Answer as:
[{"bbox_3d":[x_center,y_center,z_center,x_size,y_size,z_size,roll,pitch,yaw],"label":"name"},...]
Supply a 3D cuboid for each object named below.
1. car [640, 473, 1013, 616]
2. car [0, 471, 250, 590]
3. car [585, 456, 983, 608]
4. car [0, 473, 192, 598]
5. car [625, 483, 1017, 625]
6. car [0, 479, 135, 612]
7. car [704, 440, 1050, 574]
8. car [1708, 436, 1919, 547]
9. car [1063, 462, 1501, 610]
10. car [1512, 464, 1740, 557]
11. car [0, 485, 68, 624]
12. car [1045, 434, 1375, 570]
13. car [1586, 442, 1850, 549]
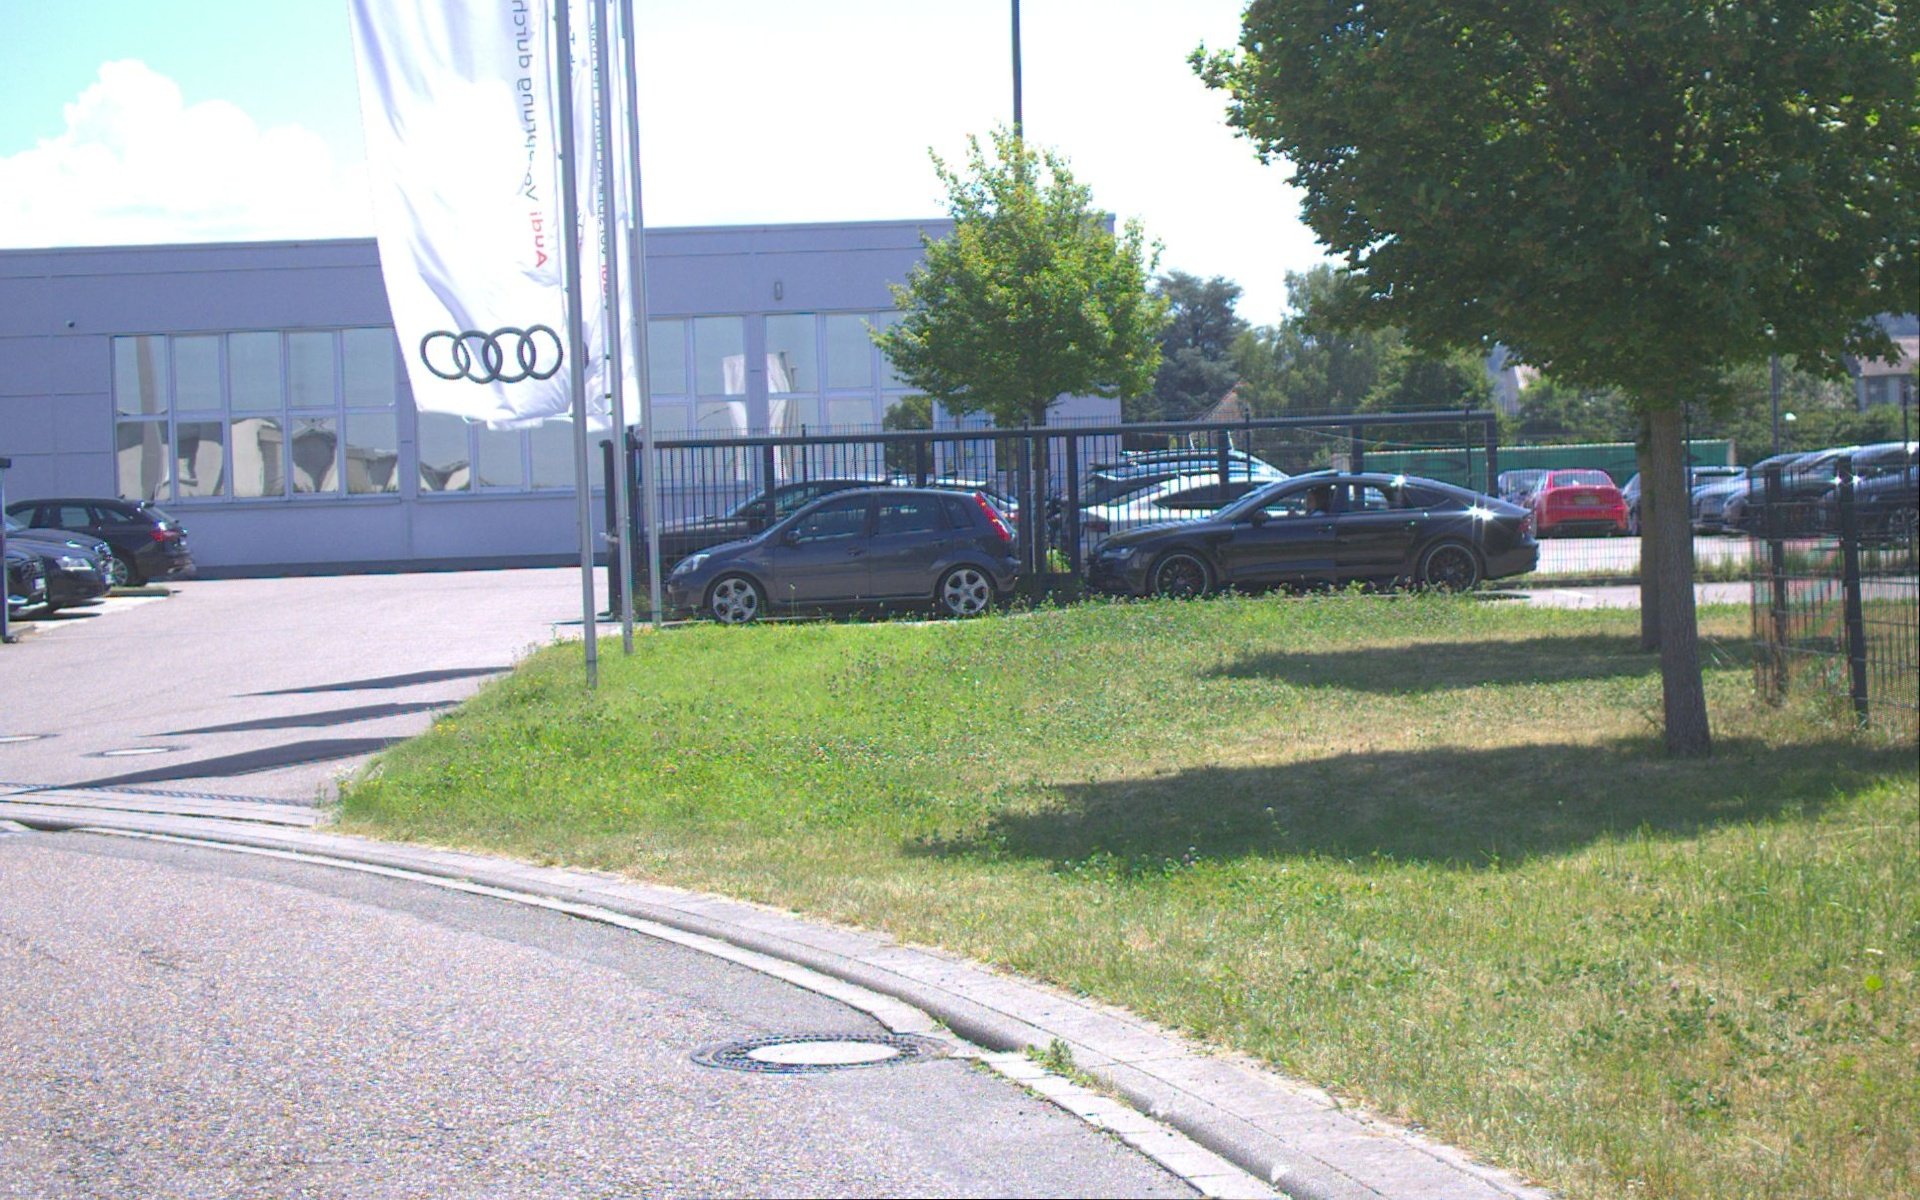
[{"bbox_3d":[-1.706,-0.730,43.929,4.610,1.624,1.968,-2,2,-3],"label":"car"},{"bbox_3d":[-13.077,-1.034,51.142,4.610,1.624,1.968,-2,2,-3],"label":"car"},{"bbox_3d":[-2.107,-0.840,41.292,4.610,1.624,1.968,-2,2,-3],"label":"car"},{"bbox_3d":[-13.147,-0.889,48.083,4.363,1.624,1.968,-2,2,-3],"label":"car"},{"bbox_3d":[-1.476,-0.520,37.543,4.132,1.344,1.781,-2,2,0],"label":"car"},{"bbox_3d":[-13.266,-0.675,44.645,4.610,1.624,1.968,-2,2,-3],"label":"car"},{"bbox_3d":[-1.164,-1.278,47.528,4.610,1.624,1.968,-2,1,-3],"label":"car"},{"bbox_3d":[13.597,-1.661,52.003,3.986,1.551,2.113,-2,1,-4],"label":"car"},{"bbox_3d":[3.433,-0.715,37.304,4.558,1.396,1.781,-2,2,1],"label":"car"},{"bbox_3d":[13.222,-1.777,68.350,3.986,1.682,2.000,-2,1,-6],"label":"car"},{"bbox_3d":[-13.385,-0.504,41.686,4.610,1.624,1.968,-2,2,-3],"label":"car"},{"bbox_3d":[3.340,-1.315,46.399,4.199,1.624,1.796,-3,1,-3],"label":"car"},{"bbox_3d":[13.139,-1.813,59.713,3.986,1.682,2.000,-2,1,-6],"label":"car"}]
